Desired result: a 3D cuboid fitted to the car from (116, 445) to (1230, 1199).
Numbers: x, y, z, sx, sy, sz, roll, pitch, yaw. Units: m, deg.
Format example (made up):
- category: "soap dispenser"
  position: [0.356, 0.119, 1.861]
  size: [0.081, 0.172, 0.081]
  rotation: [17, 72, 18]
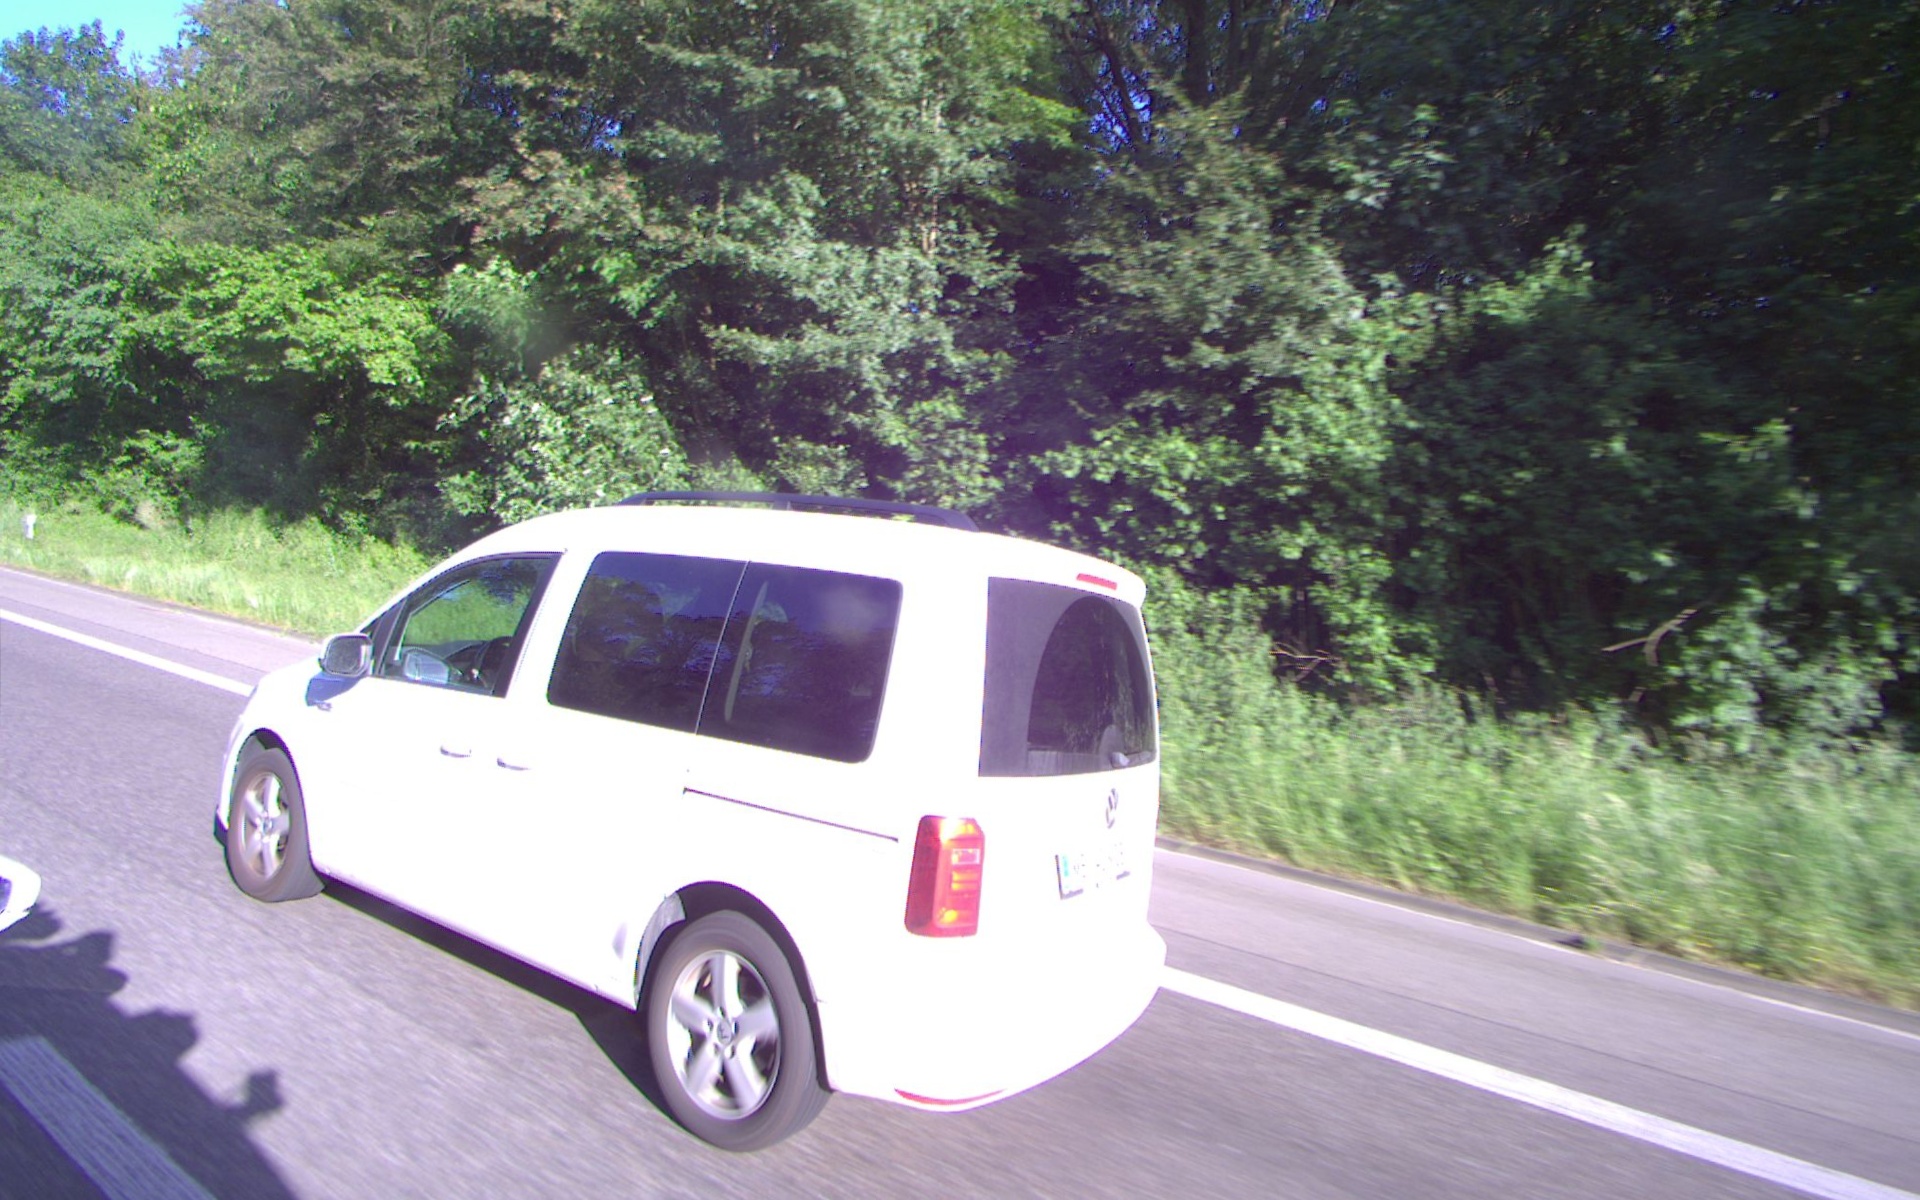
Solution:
- category: "car"
  position: [-1.435, 0.483, 4.271]
  size: [4.511, 1.834, 1.802]
  rotation: [6, -2, 31]
